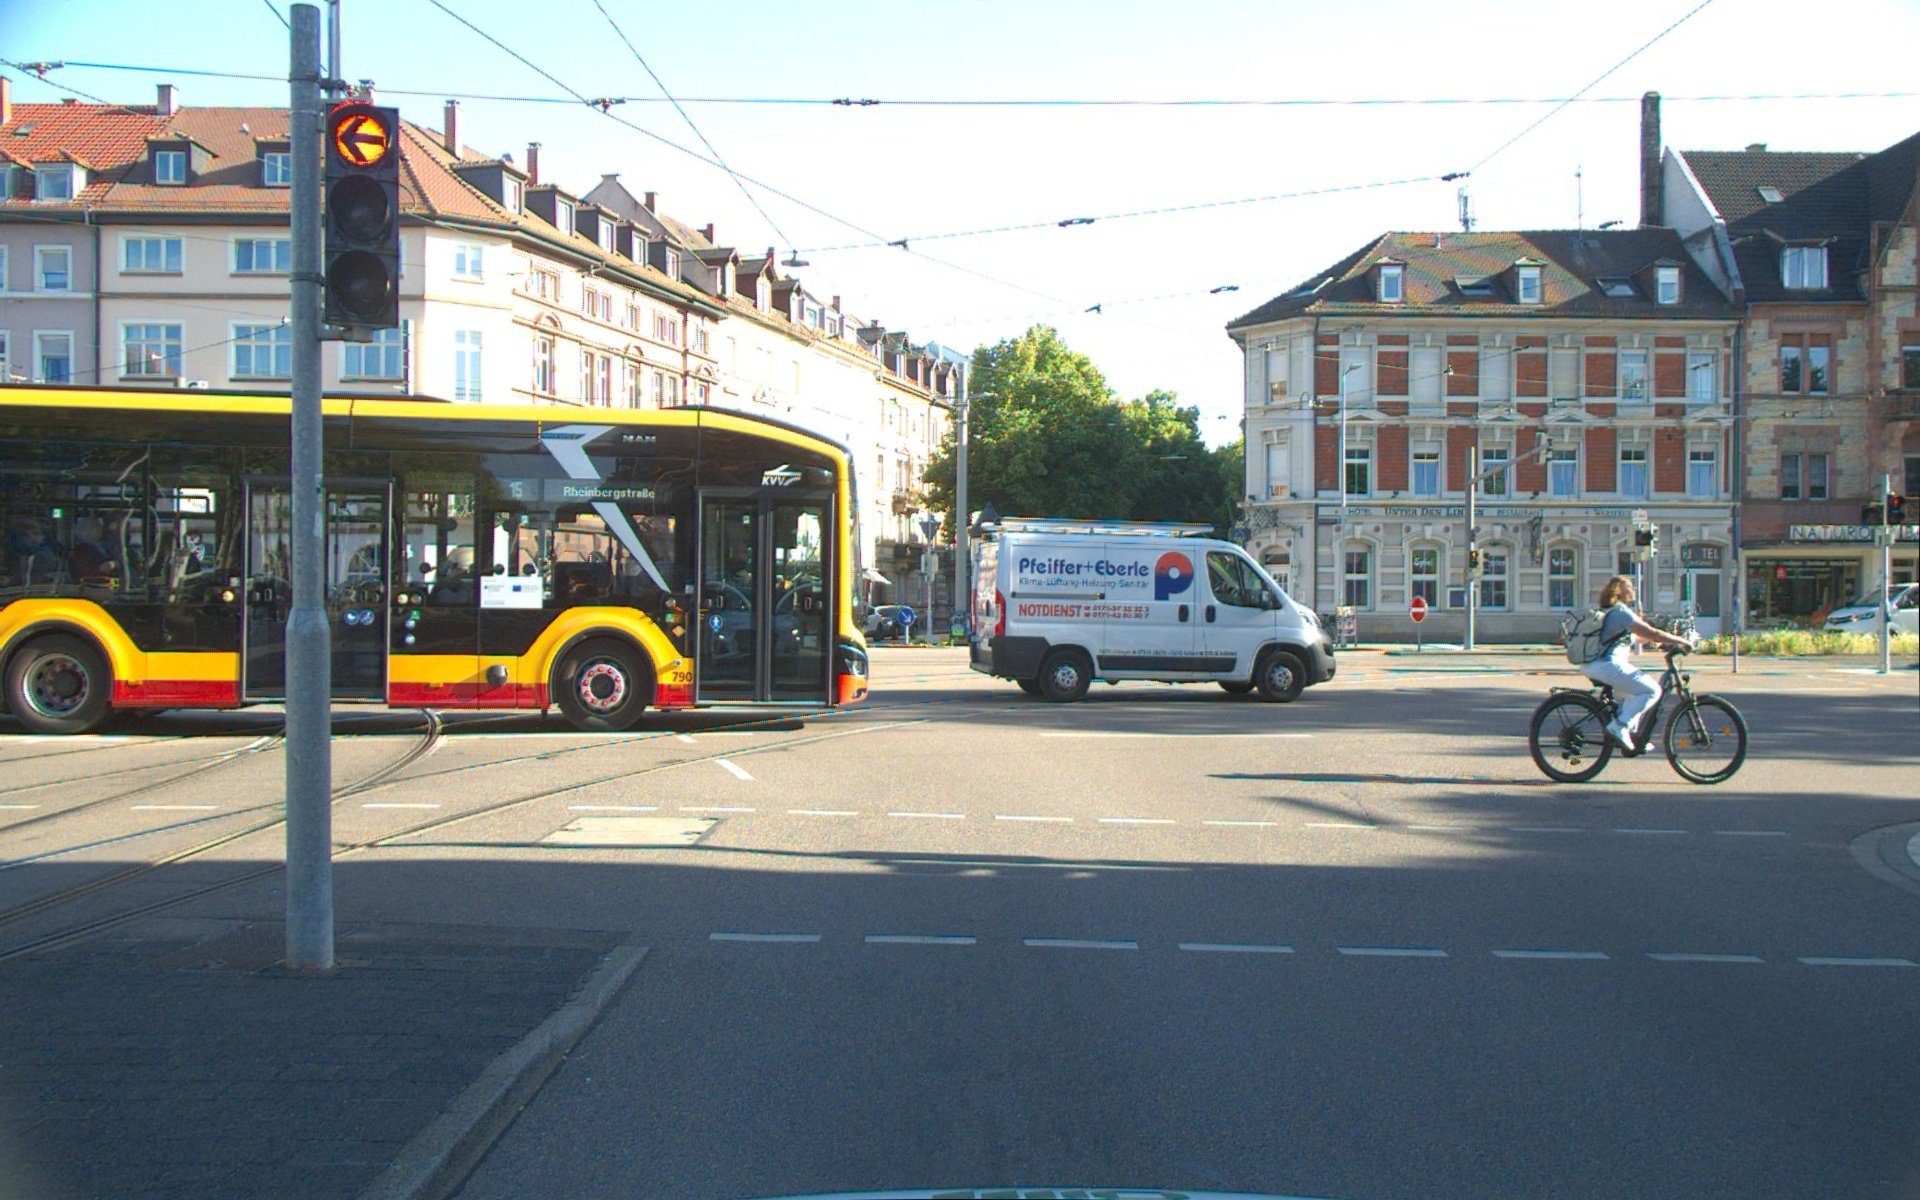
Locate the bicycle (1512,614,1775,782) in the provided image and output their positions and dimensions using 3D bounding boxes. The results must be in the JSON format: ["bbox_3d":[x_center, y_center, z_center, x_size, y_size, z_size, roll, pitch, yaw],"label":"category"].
[{"bbox_3d":[5.580,0.790,13.558,1.901,1.321,0.623,1,0,-3],"label":"bicycle"}]

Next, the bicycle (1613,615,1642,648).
[{"bbox_3d":[21.614,1.007,53.561,0.476,1.038,1.785,0,0,9],"label":"bicycle"}]

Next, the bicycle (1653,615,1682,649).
[{"bbox_3d":[22.907,1.030,53.570,0.476,1.038,1.785,0,0,9],"label":"bicycle"}]

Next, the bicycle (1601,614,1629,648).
[{"bbox_3d":[21.165,0.999,53.493,0.476,1.038,1.785,0,0,9],"label":"bicycle"}]

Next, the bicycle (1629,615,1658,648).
[{"bbox_3d":[22.112,1.016,53.490,0.476,1.038,1.785,0,0,9],"label":"bicycle"}]

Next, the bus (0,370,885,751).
[{"bbox_3d":[-5.527,-0.352,17.361,9.234,3.517,2.775,1,1,-8],"label":"bus"}]

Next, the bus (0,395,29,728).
[{"bbox_3d":[-14.244,-0.464,16.174,8.450,3.517,2.783,1,1,-7],"label":"bus"}]

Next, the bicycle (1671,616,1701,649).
[{"bbox_3d":[23.592,1.043,53.752,0.476,1.038,1.785,0,0,9],"label":"bicycle"}]

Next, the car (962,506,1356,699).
[{"bbox_3d":[2.651,0.047,22.702,5.016,2.475,2.077,0,0,-9],"label":"car"}]

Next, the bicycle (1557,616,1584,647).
[{"bbox_3d":[19.806,1.013,53.662,0.476,0.930,1.785,0,0,9],"label":"bicycle"}]

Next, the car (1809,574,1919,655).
[{"bbox_3d":[24.898,0.353,42.771,4.879,2.049,2.000,0,0,-1],"label":"car"}]

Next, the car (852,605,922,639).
[{"bbox_3d":[-3.225,0.946,73.587,1.951,1.429,4.172,0,0,15],"label":"car"}]

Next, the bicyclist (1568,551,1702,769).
[{"bbox_3d":[5.527,0.478,13.581,0.782,1.745,0.733,0,0,-3],"label":"bicyclist"}]

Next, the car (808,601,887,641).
[{"bbox_3d":[-4.529,0.842,67.395,1.951,1.542,4.172,0,0,15],"label":"car"}]

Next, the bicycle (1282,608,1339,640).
[{"bbox_3d":[12.178,0.825,57.523,1.911,1.072,0.716,0,0,9],"label":"bicycle"}]

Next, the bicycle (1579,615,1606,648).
[{"bbox_3d":[20.475,1.020,53.585,0.476,1.038,1.785,0,0,9],"label":"bicycle"}]
